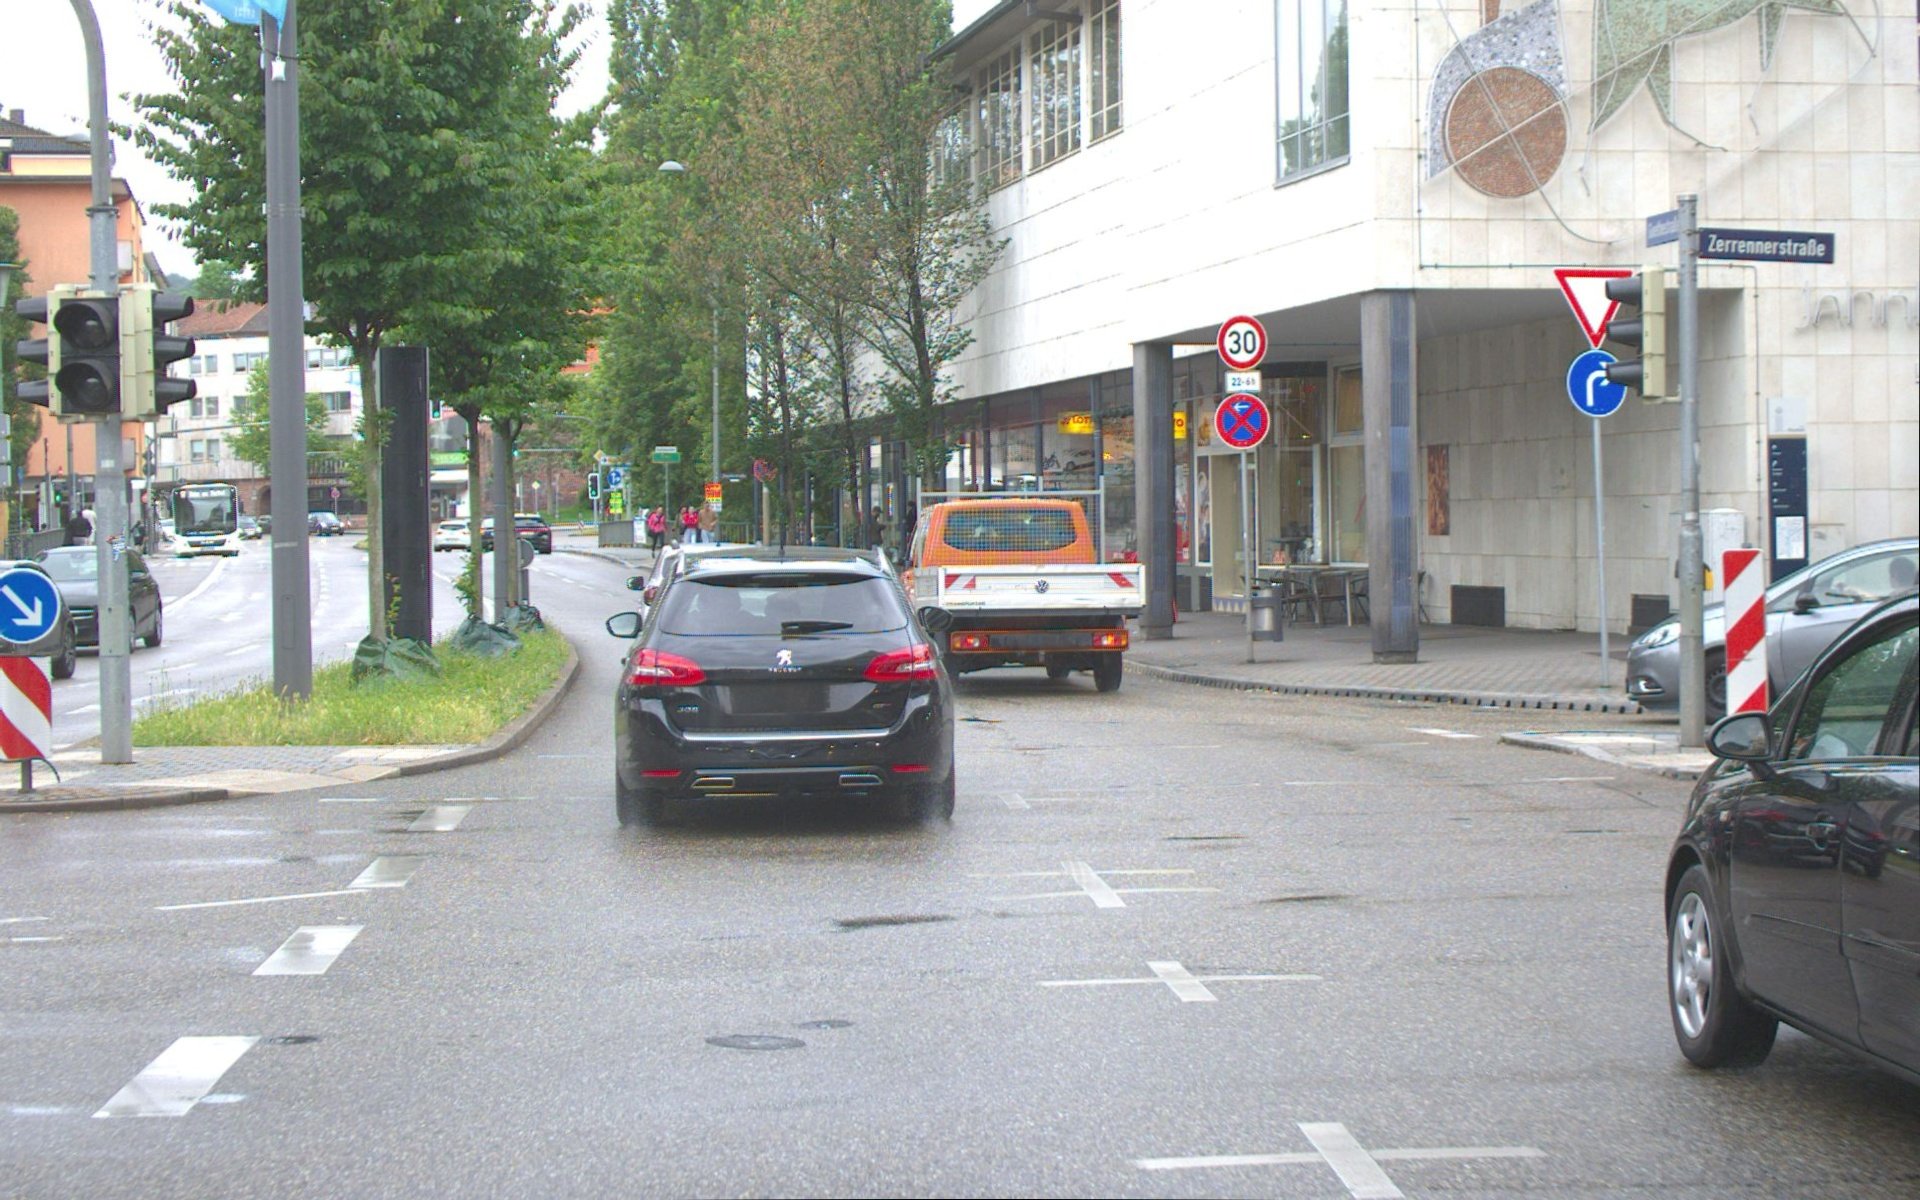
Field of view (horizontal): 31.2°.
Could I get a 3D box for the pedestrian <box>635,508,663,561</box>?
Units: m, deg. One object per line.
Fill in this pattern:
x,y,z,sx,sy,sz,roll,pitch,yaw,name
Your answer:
-9.634,-2.037,106.452,0.717,1.614,0.769,-2,2,-11,pedestrian

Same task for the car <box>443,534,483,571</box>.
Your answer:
-23.094,-2.183,159.588,1.644,1.559,3.601,2,-1,-11,car

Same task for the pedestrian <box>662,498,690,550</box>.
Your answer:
-8.810,-2.345,106.594,0.725,1.584,0.607,-2,2,-11,pedestrian

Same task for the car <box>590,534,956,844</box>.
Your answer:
-0.960,0.405,19.048,1.795,1.478,4.000,1,2,-1,car

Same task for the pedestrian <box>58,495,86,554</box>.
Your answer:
-27.006,-2.287,104.546,0.698,1.788,0.959,0,1,-8,pedestrian

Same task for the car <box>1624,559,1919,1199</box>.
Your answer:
2.957,0.645,8.580,1.708,1.452,3.743,0,1,-3,car

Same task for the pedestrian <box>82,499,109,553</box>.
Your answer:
-28.973,-2.477,115.220,0.797,1.788,0.812,0,1,-8,pedestrian

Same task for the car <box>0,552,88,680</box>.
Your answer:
-11.483,0.201,39.717,1.757,1.415,4.097,-3,0,-1,car

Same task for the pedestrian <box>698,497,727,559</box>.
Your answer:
-7.221,-2.105,100.200,0.698,1.795,0.607,-2,2,-11,pedestrian

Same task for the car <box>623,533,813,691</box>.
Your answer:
-2.499,0.073,34.974,1.794,1.478,4.001,-1,1,-5,car

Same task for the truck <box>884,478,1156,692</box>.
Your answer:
0.522,-0.154,34.883,2.121,2.018,4.716,0,0,-7,truck

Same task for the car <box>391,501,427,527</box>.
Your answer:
-36.648,-5.707,228.671,1.993,1.678,4.001,-1,1,-14,car

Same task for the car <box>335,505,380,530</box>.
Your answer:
-41.902,-5.730,239.190,1.645,1.559,3.599,3,-2,-35,car

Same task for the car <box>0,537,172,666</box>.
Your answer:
-12.743,-0.014,50.308,1.827,1.730,4.260,-3,1,-7,car

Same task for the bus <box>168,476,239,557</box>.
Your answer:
-31.382,-3.549,142.539,2.743,3.065,12.242,-1,3,-13,bus

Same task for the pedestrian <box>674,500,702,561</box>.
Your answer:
-7.919,-2.020,100.055,0.653,1.761,0.923,-2,2,-11,pedestrian

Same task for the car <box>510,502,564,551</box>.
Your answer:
-15.223,-2.625,123.547,1.644,1.559,3.601,2,-1,-11,car

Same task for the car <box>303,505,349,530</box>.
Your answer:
-43.364,-5.630,235.113,1.645,1.559,3.599,3,-2,-35,car

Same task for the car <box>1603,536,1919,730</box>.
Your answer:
7.279,0.247,27.265,3.991,1.472,1.998,0,0,21,car

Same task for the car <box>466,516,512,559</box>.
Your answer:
-19.195,-2.548,139.950,1.644,1.559,3.601,2,-1,-11,car
